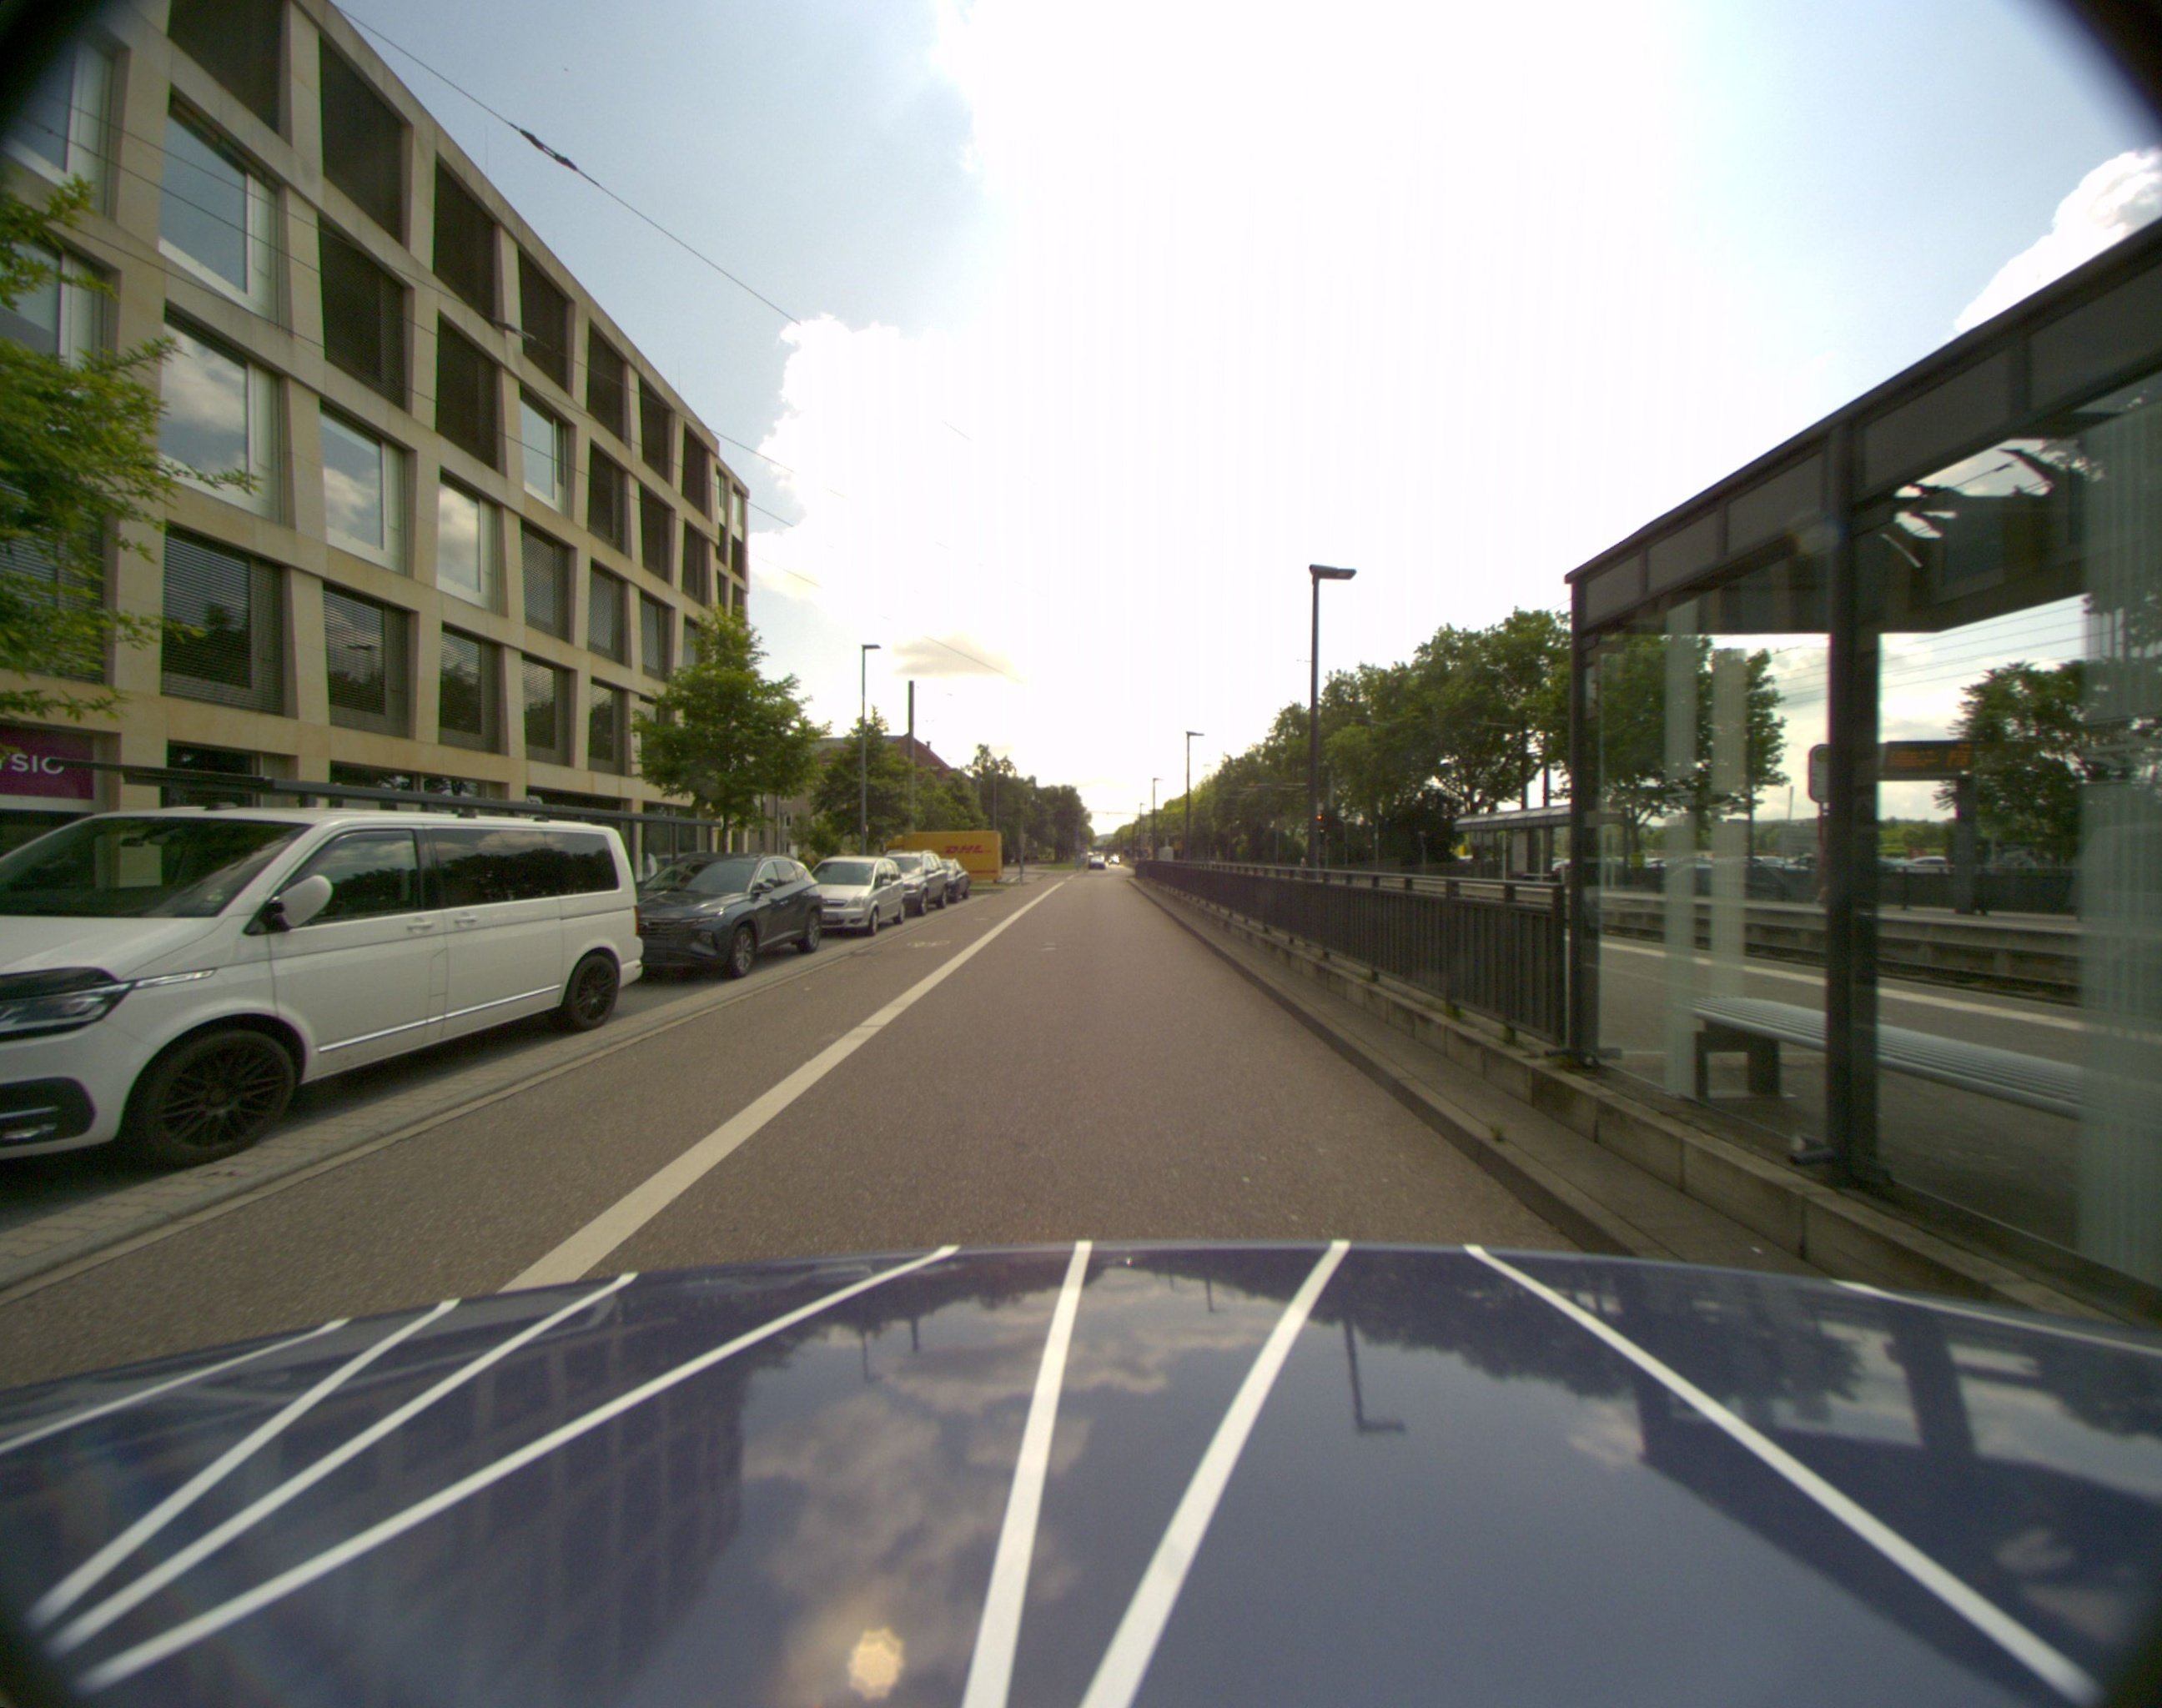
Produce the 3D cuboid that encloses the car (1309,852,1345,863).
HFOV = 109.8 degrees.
[{"bbox_3d":[31.960,0.457,98.668,3.996,1.434,2.000,0,0,1],"label":"car"}]

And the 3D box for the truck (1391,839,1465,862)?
[{"bbox_3d":[67.252,-0.646,147.460,12.818,4.050,2.748,2,1,2],"label":"truck"}]

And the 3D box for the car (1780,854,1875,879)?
[{"bbox_3d":[44.707,0.716,45.637,1.802,1.467,4.000,0,0,0],"label":"car"}]

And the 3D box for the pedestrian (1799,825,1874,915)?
[{"bbox_3d":[15.851,0.326,15.959,0.708,1.834,0.864,0,1,0],"label":"pedestrian"}]

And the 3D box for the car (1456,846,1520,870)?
[{"bbox_3d":[33.054,0.327,61.790,4.107,1.821,2.000,2,1,2],"label":"car"}]

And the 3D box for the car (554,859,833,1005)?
[{"bbox_3d":[-5.281,0.935,11.173,1.725,1.631,4.527,1,0,1],"label":"car"}]

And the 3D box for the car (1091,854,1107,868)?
[{"bbox_3d":[2.133,0.829,91.787,1.784,1.531,4.420,1,0,-1],"label":"car"}]

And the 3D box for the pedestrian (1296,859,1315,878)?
[{"bbox_3d":[15.825,1.016,53.560,0.866,1.336,0.920,1,1,-32],"label":"pedestrian"}]

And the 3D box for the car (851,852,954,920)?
[{"bbox_3d":[-5.019,0.822,22.075,1.773,1.757,4.839,0,0,1],"label":"car"}]

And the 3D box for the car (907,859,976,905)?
[{"bbox_3d":[-4.944,0.960,27.447,1.695,1.496,4.068,0,0,1],"label":"car"}]

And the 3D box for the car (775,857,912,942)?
[{"bbox_3d":[-4.997,0.885,16.558,1.725,1.610,3.860,0,0,1],"label":"car"}]

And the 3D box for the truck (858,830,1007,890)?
[{"bbox_3d":[-7.114,0.263,37.067,6.824,2.851,2.454,0,1,-1],"label":"truck"}]

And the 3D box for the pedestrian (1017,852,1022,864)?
[{"bbox_3d":[-8.536,0.537,105.681,0.624,1.598,0.624,1,1,-12],"label":"pedestrian"}]

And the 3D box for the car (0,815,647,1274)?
[{"bbox_3d":[-5.439,0.773,5.377,1.886,1.928,4.843,1,0,1],"label":"car"}]
